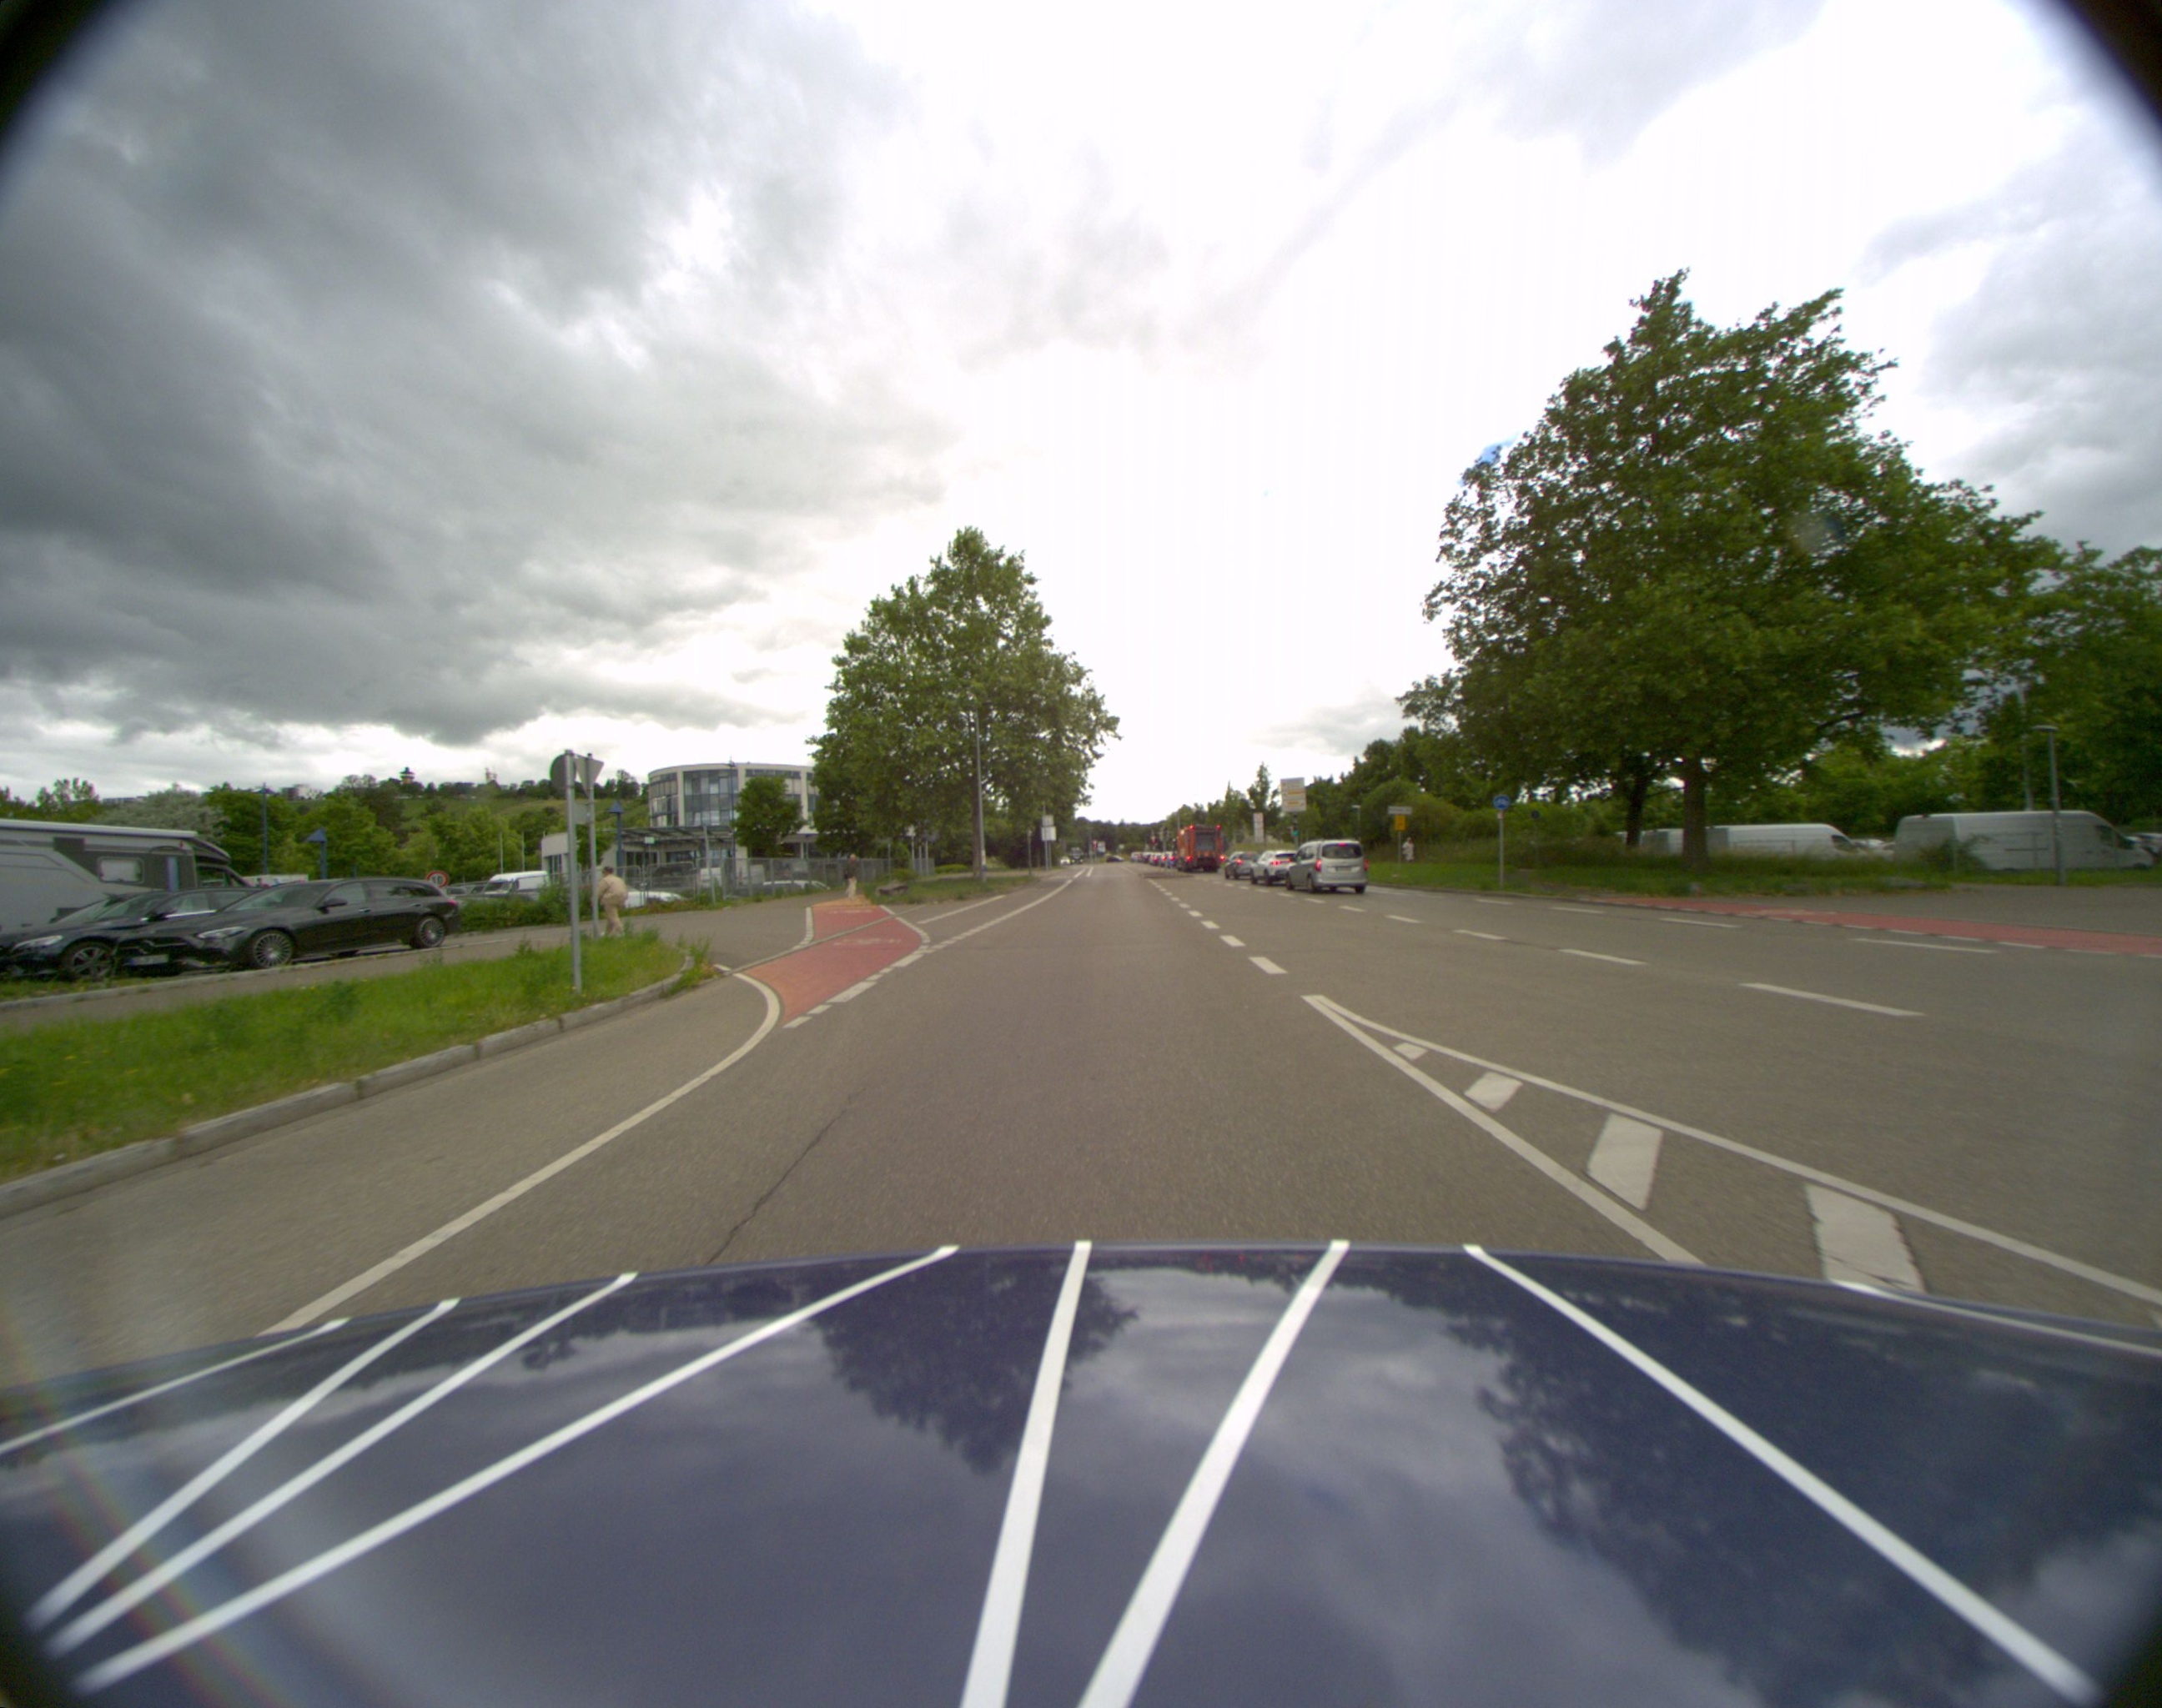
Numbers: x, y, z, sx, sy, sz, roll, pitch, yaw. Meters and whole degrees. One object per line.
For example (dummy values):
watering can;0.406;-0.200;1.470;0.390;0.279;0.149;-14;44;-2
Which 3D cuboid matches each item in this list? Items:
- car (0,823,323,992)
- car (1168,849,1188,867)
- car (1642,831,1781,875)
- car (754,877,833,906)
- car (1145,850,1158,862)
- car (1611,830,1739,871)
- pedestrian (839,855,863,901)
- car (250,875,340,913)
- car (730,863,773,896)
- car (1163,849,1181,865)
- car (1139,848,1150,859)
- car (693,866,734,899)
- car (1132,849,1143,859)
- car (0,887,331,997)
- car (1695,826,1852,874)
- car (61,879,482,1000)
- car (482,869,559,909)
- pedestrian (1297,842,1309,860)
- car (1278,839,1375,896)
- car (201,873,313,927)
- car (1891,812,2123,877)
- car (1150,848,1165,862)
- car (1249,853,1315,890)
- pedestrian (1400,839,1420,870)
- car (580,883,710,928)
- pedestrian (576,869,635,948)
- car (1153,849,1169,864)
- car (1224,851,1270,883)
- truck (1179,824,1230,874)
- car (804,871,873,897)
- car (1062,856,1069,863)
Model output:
car;-18.994;1.025;14.654;1.999;2.800;6.726;-5;-1;-2
car;9.258;0.393;72.861;1.591;1.608;3.352;-2;0;3
car;30.068;-0.071;36.333;5.298;2.002;1.739;0;1;-2
car;-18.036;2.339;47.862;4.188;1.440;1.818;-5;-1;-2
car;9.605;0.237;104.119;1.591;1.608;3.584;-2;0;3
car;30.315;-0.204;38.861;5.298;2.002;1.739;0;1;-2
pedestrian;-8.630;0.897;28.550;0.734;1.717;0.501;-1;1;-4
car;-61.327;3.091;59.423;2.220;2.739;4.485;-2;-1;2
car;-24.329;1.906;55.963;2.119;2.261;4.473;-2;-1;-33
car;9.675;0.320;81.082;1.591;1.608;3.584;-2;0;3
car;9.754;-0.096;117.368;1.591;1.608;3.584;-2;0;3
car;-26.857;2.049;55.465;2.119;2.261;4.473;-2;-1;-33
car;9.141;-0.037;122.891;1.591;1.608;3.584;-2;0;3
car;-16.120;1.410;13.013;1.851;1.408;4.616;-5;-1;0
car;30.161;-0.170;33.205;5.298;2.002;1.739;0;1;-1
car;-13.300;1.281;13.137;1.851;1.408;4.980;-4;0;0
car;-41.696;2.559;56.660;2.220;2.739;4.485;-2;-1;2
pedestrian;18.005;-0.270;61.715;0.757;1.439;0.639;-3;2;-1
car;8.553;0.443;26.898;1.833;1.760;4.405;-3;0;-2
car;-52.554;2.883;48.558;4.519;3.179;2.221;-2;-1;-3
car;30.376;-0.318;25.044;5.298;2.002;2.011;0;1;-2
car;9.454;0.128;94.051;1.591;1.608;3.584;-2;0;3
car;8.605;0.715;32.905;1.733;1.477;4.122;-1;0;0
pedestrian;18.934;0.011;43.691;0.757;1.727;0.638;-3;2;-9
car;-17.474;2.041;30.575;3.996;1.310;2.001;-6;-1;3
pedestrian;-10.004;1.108;15.983;0.941;1.558;0.814;1;2;44
car;9.261;0.252;87.687;1.591;1.608;3.584;-2;0;3
car;8.847;0.664;40.715;1.639;1.553;3.351;-2;0;0
truck;9.181;-0.371;57.415;2.831;3.460;7.824;-2;1;3
car;-16.861;2.091;52.961;4.188;1.440;1.818;-5;-1;-2
car;-3.538;1.204;170.018;1.592;1.481;3.582;-2;0;-2
